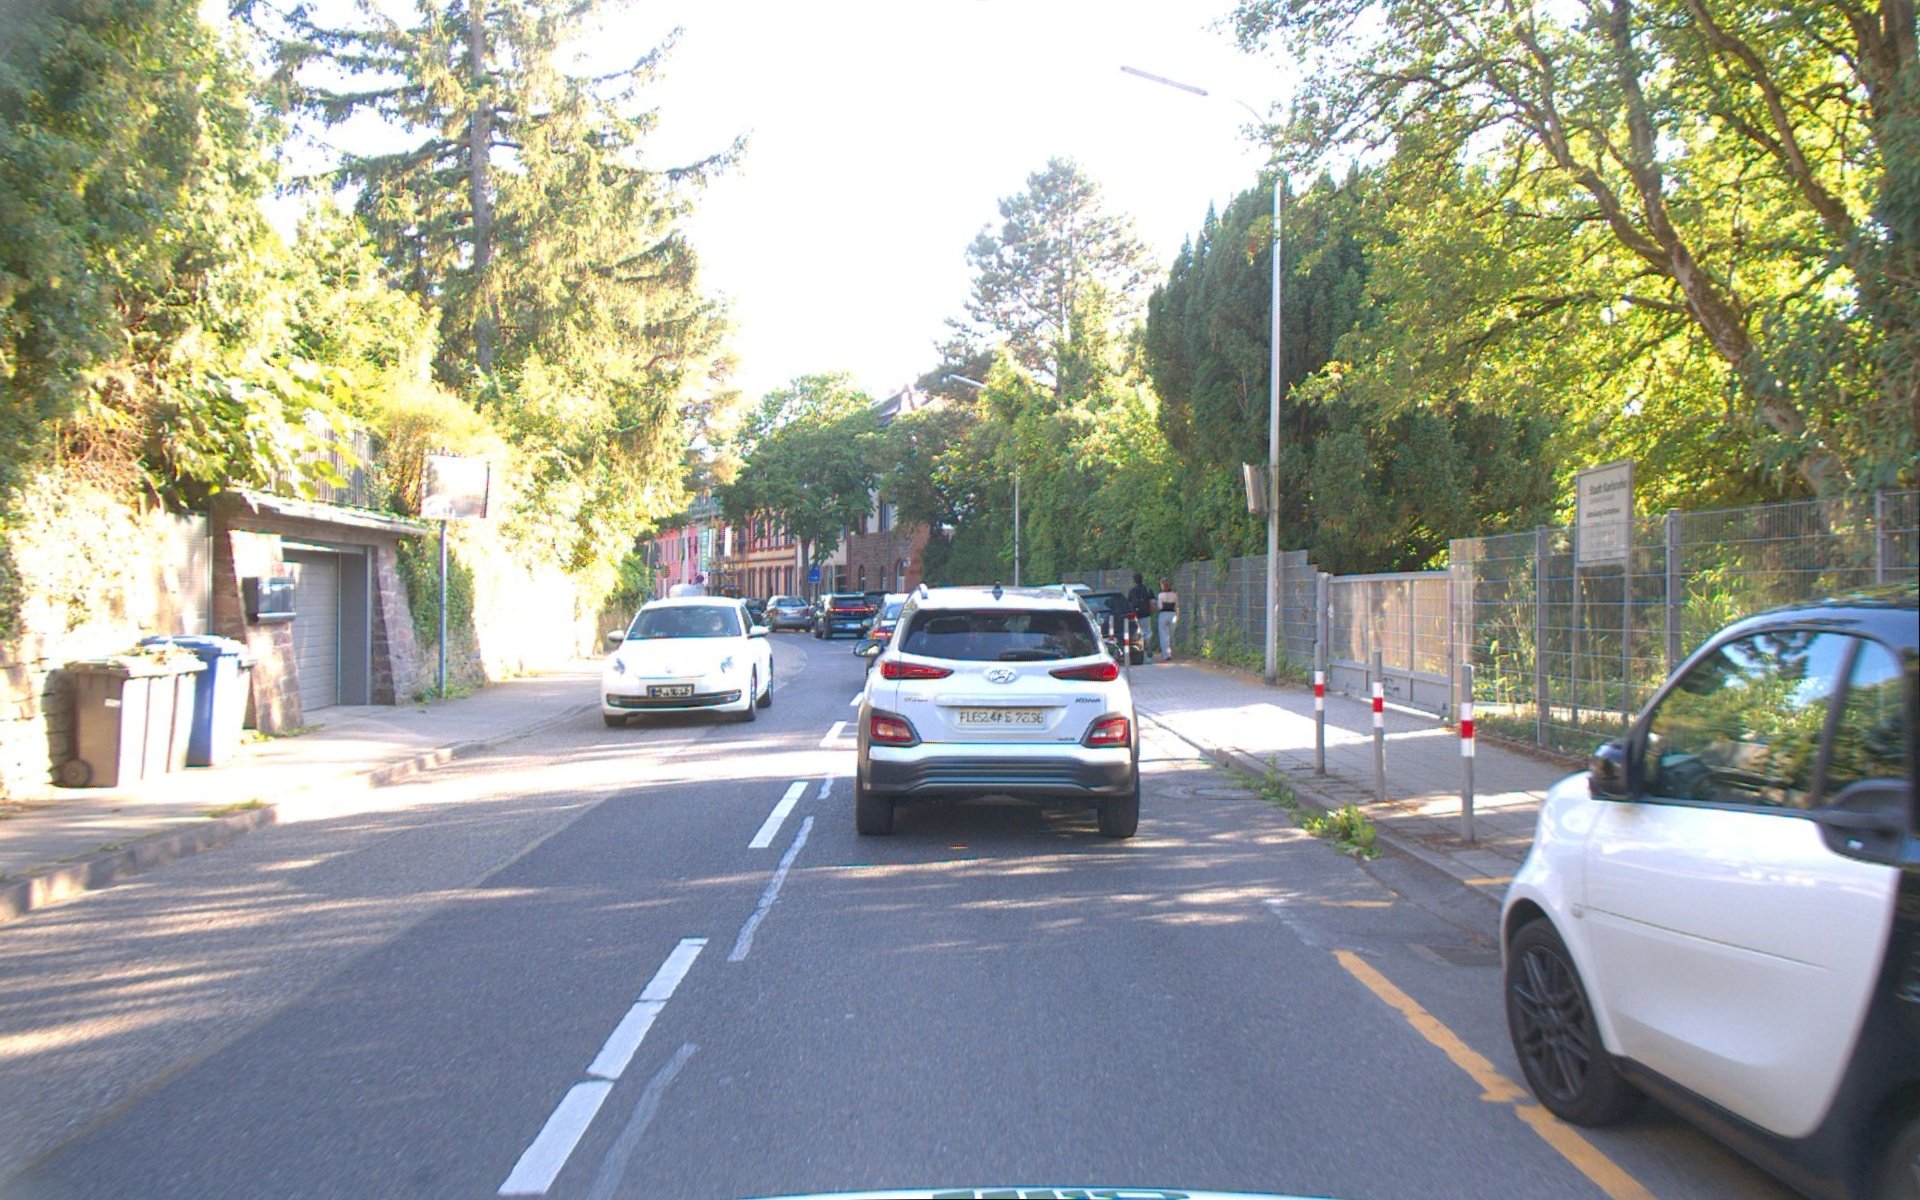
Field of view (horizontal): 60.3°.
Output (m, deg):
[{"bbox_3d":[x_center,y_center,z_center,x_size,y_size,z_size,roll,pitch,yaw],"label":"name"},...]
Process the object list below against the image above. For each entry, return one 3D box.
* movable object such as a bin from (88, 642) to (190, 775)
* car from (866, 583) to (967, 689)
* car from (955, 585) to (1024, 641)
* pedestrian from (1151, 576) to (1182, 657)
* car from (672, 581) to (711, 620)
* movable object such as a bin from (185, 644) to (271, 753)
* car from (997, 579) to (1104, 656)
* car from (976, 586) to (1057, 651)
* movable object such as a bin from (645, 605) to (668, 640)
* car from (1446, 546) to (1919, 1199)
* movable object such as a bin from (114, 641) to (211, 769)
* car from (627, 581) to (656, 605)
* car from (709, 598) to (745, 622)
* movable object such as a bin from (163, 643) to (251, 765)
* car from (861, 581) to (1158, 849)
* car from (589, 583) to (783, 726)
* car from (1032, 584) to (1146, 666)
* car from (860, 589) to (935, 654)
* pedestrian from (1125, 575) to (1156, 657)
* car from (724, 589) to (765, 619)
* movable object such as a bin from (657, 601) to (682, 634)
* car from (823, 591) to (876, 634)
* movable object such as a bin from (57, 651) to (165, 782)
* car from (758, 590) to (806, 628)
[{"bbox_3d":[-6.404,0.842,12.914,0.562,1.002,0.438,1,-1,-4],"label":"movable object such as a bin"},{"bbox_3d":[-0.744,0.513,26.385,1.482,1.560,3.545,-1,1,-3],"label":"car"},{"bbox_3d":[0.835,0.369,48.867,1.563,1.515,3.598,-3,1,-6],"label":"car"},{"bbox_3d":[4.159,0.329,33.336,0.493,1.596,0.503,-2,0,-1],"label":"pedestrian"},{"bbox_3d":[-18.935,0.043,116.406,1.900,2.628,4.368,-1,0,-20],"label":"car"},{"bbox_3d":[-6.523,0.870,14.752,0.562,0.941,0.438,1,0,-4],"label":"movable object such as a bin"},{"bbox_3d":[2.018,0.390,37.965,1.564,1.592,3.991,-2,0,-9],"label":"car"},{"bbox_3d":[1.439,0.466,43.405,1.563,1.545,3.928,-3,0,-6],"label":"car"},{"bbox_3d":[-9.218,0.674,50.224,0.485,1.029,1.112,1,-1,-1],"label":"movable object such as a bin"},{"bbox_3d":[2.542,0.646,4.079,1.593,1.536,2.901,-3,1,-5],"label":"car"},{"bbox_3d":[-6.457,0.845,13.401,0.562,1.002,0.438,1,-1,-4],"label":"movable object such as a bin"},{"bbox_3d":[-27.005,-0.584,140.015,1.693,1.970,3.973,-1,0,-22],"label":"car"},{"bbox_3d":[-12.651,0.523,89.779,1.502,1.282,3.346,-1,0,-16],"label":"car"},{"bbox_3d":[-6.361,0.871,13.997,0.480,0.981,0.583,1,0,-4],"label":"movable object such as a bin"},{"bbox_3d":[0.277,0.672,11.723,1.736,1.569,4.000,0,0,-1],"label":"car"},{"bbox_3d":[-3.309,0.614,20.688,1.706,1.500,3.999,-4,0,-1],"label":"car"},{"bbox_3d":[2.486,0.449,32.720,1.653,1.456,3.997,-2,0,-4],"label":"car"},{"bbox_3d":[-1.567,0.495,40.378,1.541,1.503,3.542,1,0,-7],"label":"car"},{"bbox_3d":[3.634,0.317,33.345,0.493,1.634,0.491,-2,0,-1],"label":"pedestrian"},{"bbox_3d":[-12.835,0.222,98.349,1.729,1.645,3.980,1,1,-18],"label":"car"},{"bbox_3d":[-10.550,0.635,60.159,0.776,1.210,0.772,1,-1,-3],"label":"movable object such as a bin"},{"bbox_3d":[-3.978,0.443,59.156,1.563,1.486,3.092,-1,0,-10],"label":"car"},{"bbox_3d":[-6.385,0.869,12.455,0.572,0.954,0.438,1,-1,-4],"label":"movable object such as a bin"},{"bbox_3d":[-7.905,0.392,73.143,1.564,1.610,3.346,-1,0,-16],"label":"car"}]
